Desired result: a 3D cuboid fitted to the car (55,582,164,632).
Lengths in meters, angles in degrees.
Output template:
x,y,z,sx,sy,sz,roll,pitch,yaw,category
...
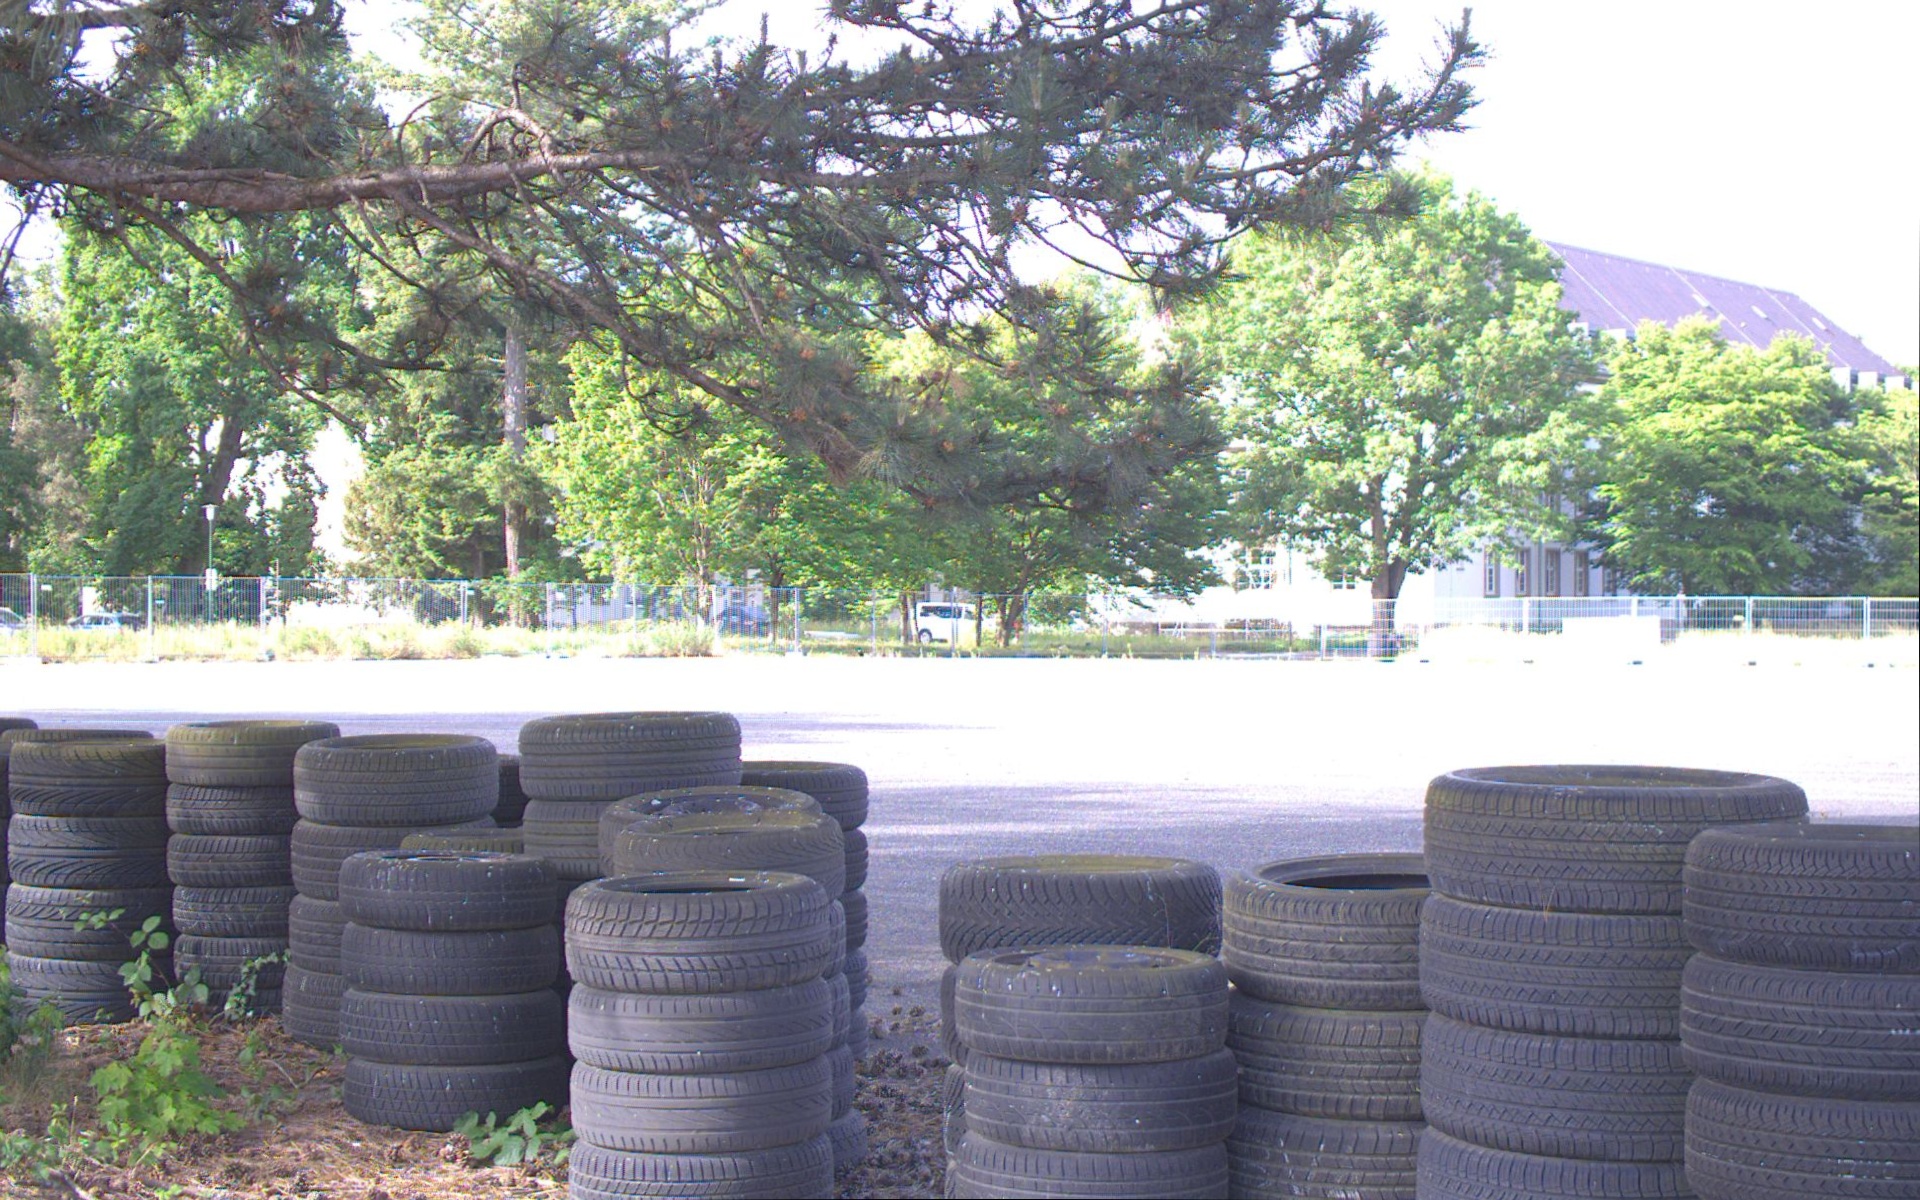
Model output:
x,y,z,sx,sy,sz,roll,pitch,yaw,category
-30.490,0.237,123.173,3.997,1.744,1.995,0,0,45,car
